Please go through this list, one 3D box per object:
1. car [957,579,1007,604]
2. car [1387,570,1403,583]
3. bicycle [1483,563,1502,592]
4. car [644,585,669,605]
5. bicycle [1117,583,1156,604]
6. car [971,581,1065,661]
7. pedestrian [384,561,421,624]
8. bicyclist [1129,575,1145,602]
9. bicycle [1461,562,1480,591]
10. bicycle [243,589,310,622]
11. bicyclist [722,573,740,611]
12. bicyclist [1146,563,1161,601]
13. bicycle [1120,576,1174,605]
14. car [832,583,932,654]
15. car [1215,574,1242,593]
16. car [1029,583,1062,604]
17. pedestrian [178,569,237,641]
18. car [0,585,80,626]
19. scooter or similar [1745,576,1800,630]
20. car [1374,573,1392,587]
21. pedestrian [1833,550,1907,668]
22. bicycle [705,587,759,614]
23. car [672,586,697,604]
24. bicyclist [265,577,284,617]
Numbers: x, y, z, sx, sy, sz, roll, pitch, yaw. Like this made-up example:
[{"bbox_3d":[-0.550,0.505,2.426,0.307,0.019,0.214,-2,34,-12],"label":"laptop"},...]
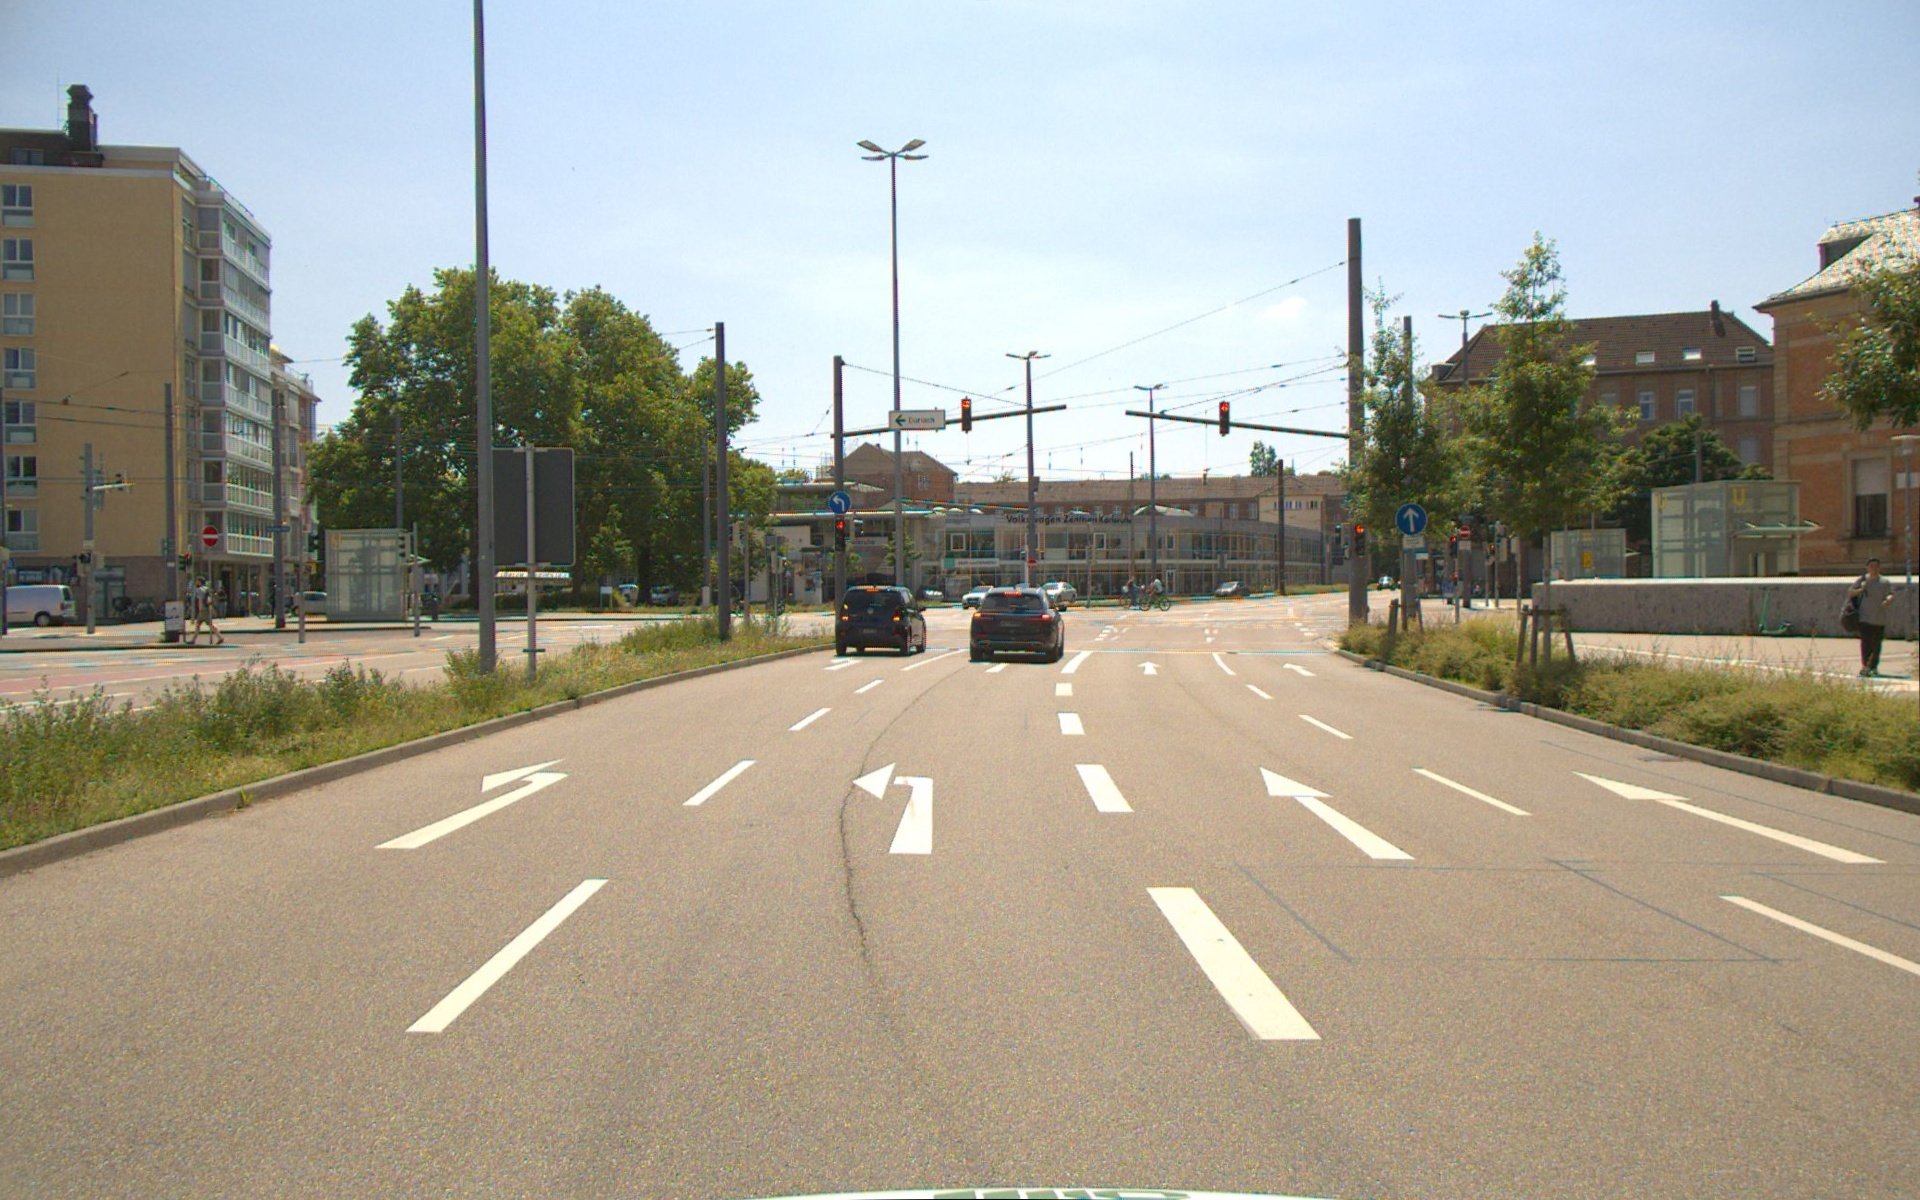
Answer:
[{"bbox_3d":[1.350,-0.523,99.886,1.587,1.414,4.123,-1,1,23],"label":"car"},{"bbox_3d":[57.721,-3.150,219.433,1.552,1.555,3.719,0,3,7],"label":"car"},{"bbox_3d":[35.815,-1.516,111.339,0.599,1.819,3.184,0,3,7],"label":"bicycle"},{"bbox_3d":[-25.758,-0.434,140.452,1.395,1.534,3.439,0,3,1],"label":"car"},{"bbox_3d":[9.991,-0.366,93.620,2.122,1.126,0.455,-1,2,-12],"label":"bicycle"},{"bbox_3d":[1.303,0.400,35.343,1.680,1.584,4.590,-1,0,6],"label":"car"},{"bbox_3d":[-26.812,-0.385,79.559,1.188,2.988,1.337,0,2,3],"label":"pedestrian"},{"bbox_3d":[10.023,-0.676,93.628,0.719,1.505,0.654,-1,2,-12],"label":"bicyclist"},{"bbox_3d":[34.431,-1.600,111.581,0.599,1.819,3.184,0,3,7],"label":"bicycle"},{"bbox_3d":[-37.358,0.285,90.413,3.293,1.623,0.807,-2,3,-41],"label":"bicycle"},{"bbox_3d":[-12.164,-0.429,87.829,0.828,1.999,0.626,0,2,-1],"label":"bicyclist"},{"bbox_3d":[10.082,-0.938,86.038,0.747,1.971,0.660,0,2,5],"label":"bicyclist"},{"bbox_3d":[9.712,-0.507,86.088,2.766,1.488,0.634,0,2,4],"label":"bicycle"},{"bbox_3d":[-1.671,0.369,36.668,1.586,1.489,4.003,0,0,6],"label":"car"},{"bbox_3d":[23.134,-1.423,142.436,1.538,1.452,3.614,1,3,22],"label":"car"},{"bbox_3d":[5.808,-0.438,111.801,1.401,1.307,3.263,1,3,19],"label":"car"},{"bbox_3d":[-20.829,0.130,45.796,1.155,1.966,0.903,0,2,0],"label":"pedestrian"},{"bbox_3d":[-41.147,0.233,72.393,4.232,1.655,1.809,-1,3,-14],"label":"car"},{"bbox_3d":[18.750,0.052,38.185,0.390,1.187,1.285,-1,3,-15],"label":"scooter or similar"},{"bbox_3d":[50.672,-2.418,198.180,1.498,1.484,3.555,0,3,6],"label":"car"},{"bbox_3d":[13.531,0.124,24.617,0.716,1.735,0.811,0,1,8],"label":"pedestrian"},{"bbox_3d":[-12.102,0.009,87.849,2.718,1.409,0.671,0,2,-1],"label":"bicycle"},{"bbox_3d":[-23.266,-0.430,139.691,1.479,1.443,3.422,0,3,1],"label":"car"},{"bbox_3d":[-37.447,-0.161,90.317,0.732,2.142,0.765,-2,3,-41],"label":"bicyclist"}]
